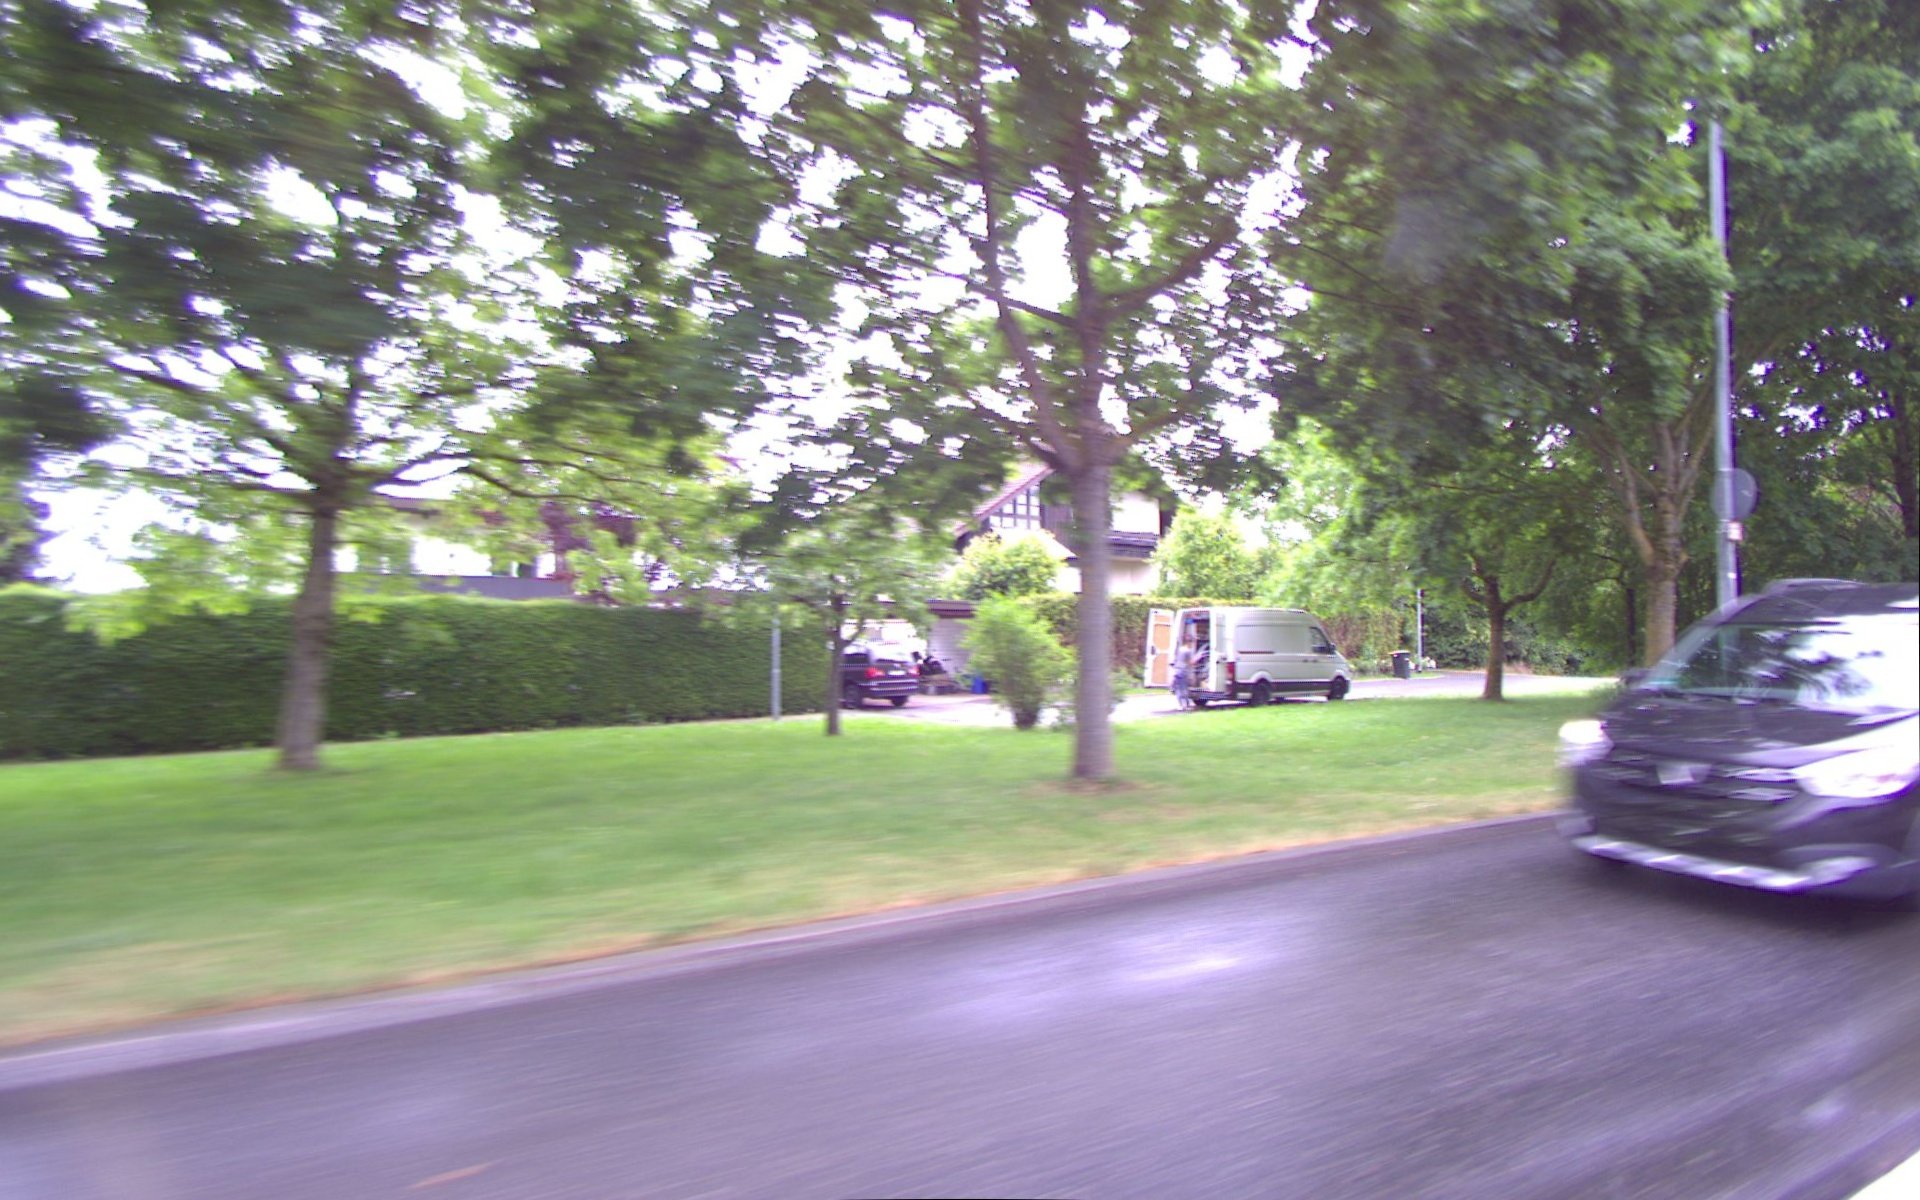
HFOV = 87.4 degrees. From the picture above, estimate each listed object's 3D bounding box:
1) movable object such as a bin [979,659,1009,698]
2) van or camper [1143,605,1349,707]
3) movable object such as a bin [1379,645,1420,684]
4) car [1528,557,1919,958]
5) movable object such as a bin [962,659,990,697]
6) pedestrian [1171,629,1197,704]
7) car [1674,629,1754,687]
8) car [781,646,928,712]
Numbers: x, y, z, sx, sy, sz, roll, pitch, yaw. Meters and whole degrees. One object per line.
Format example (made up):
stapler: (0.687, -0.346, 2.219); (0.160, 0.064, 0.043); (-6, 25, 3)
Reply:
movable object such as a bin: (1.004, 2.293, 29.485); (0.545, 1.072, 0.702); (-1, 0, -40)
van or camper: (7.567, 1.423, 26.193); (6.102, 2.366, 2.073); (2, -3, -39)
movable object such as a bin: (17.695, 2.587, 40.452); (1.158, 1.486, 1.075); (2, -1, -39)
car: (5.686, 0.772, 6.371); (4.236, 1.797, 1.768); (1, -2, -31)
movable object such as a bin: (0.477, 2.310, 30.009); (0.545, 1.072, 0.650); (-1, 0, -40)
pedestrian: (5.528, 1.637, 24.806); (0.397, 1.806, 0.480); (2, -3, -39)
car: (25.308, 1.977, 33.665); (1.881, 1.793, 4.877); (-2, -5, 40)
car: (-2.844, 2.018, 26.580); (1.891, 1.615, 3.949); (2, -4, -44)
